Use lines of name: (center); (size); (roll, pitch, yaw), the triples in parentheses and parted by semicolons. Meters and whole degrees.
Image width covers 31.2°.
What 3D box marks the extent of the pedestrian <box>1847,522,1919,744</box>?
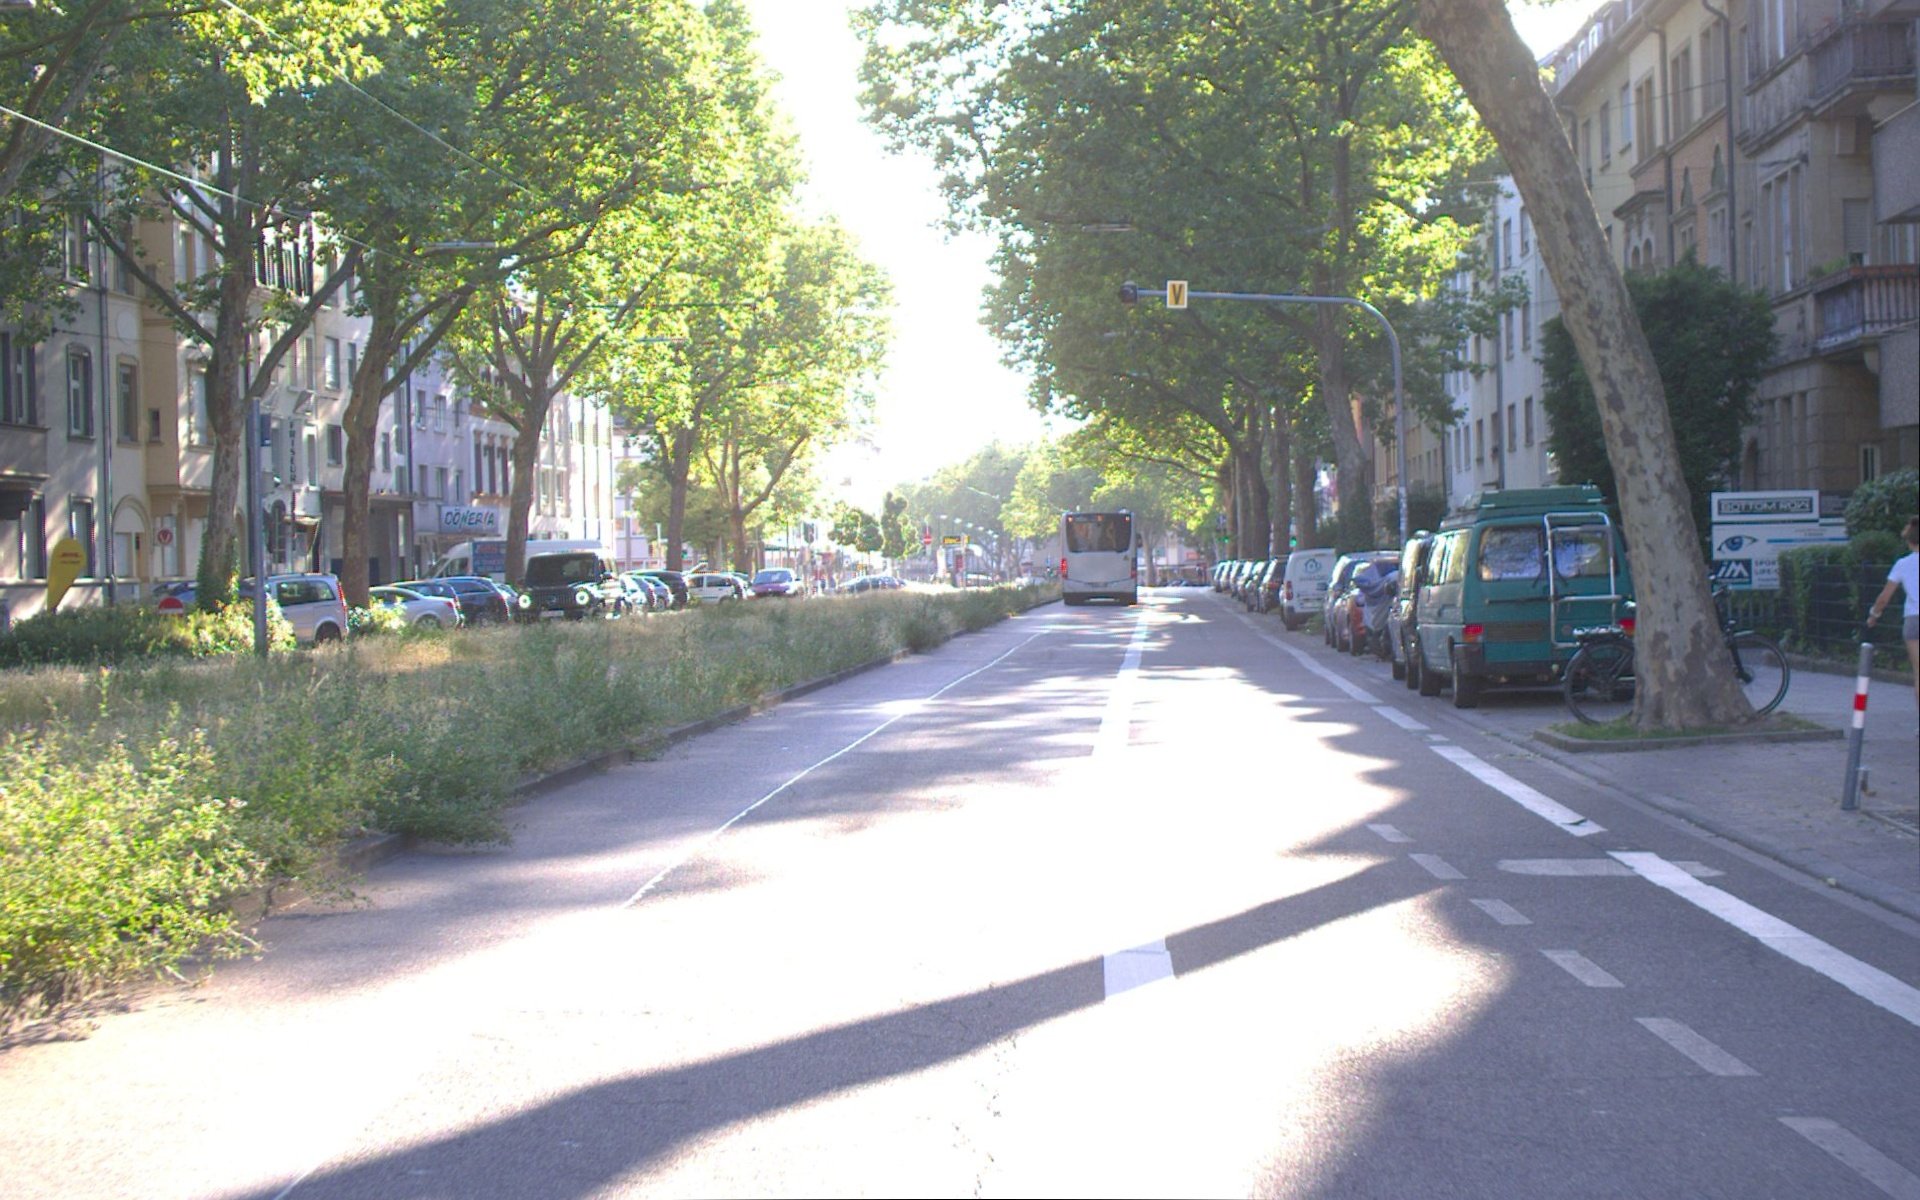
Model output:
pedestrian: (7.075, 0.241, 25.678); (0.663, 1.623, 0.923); (-1, 0, 3)

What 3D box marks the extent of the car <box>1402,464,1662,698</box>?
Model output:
car: (5.941, -0.181, 36.306); (1.993, 2.249, 5.235); (-1, 0, 2)

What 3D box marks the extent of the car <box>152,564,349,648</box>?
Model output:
car: (-16.506, 0.138, 80.062); (3.988, 1.875, 1.999); (-1, 0, -37)

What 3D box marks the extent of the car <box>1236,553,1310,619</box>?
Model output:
car: (8.708, -0.369, 95.989); (1.744, 1.764, 4.988); (-1, 0, 2)

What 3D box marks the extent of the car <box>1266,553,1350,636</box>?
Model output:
car: (7.802, -0.110, 76.768); (1.745, 1.764, 4.393); (-1, 0, 7)

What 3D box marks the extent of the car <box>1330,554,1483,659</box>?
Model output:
car: (6.987, 0.097, 54.171); (1.993, 1.555, 3.980); (-1, 0, 2)

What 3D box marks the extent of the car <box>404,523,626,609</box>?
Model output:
car: (-14.663, -1.116, 113.389); (6.935, 2.669, 2.186); (-1, 0, -17)

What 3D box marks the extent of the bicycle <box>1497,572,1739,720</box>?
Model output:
bicycle: (5.257, 0.367, 27.509); (1.845, 1.139, 0.348); (-1, 0, 3)

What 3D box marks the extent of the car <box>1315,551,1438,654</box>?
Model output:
car: (7.182, 0.044, 59.587); (1.744, 1.684, 3.852); (-1, 0, 2)

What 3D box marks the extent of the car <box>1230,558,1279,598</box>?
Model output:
car: (11.667, -0.893, 136.512); (1.781, 1.510, 4.000); (-2, 1, 3)

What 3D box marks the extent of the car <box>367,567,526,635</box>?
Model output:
car: (-14.564, 0.020, 97.595); (3.987, 1.693, 1.856); (-3, 1, -28)

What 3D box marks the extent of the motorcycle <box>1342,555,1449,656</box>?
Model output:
motorcycle: (6.331, 0.061, 50.067); (0.823, 1.393, 2.380); (-3, 1, -9)

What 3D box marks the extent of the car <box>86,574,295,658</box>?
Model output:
car: (-16.526, 0.343, 73.894); (3.988, 1.717, 1.784); (-1, 0, -35)

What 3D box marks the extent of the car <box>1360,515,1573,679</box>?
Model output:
car: (6.061, -0.032, 41.668); (1.993, 1.823, 4.757); (-1, 0, 2)

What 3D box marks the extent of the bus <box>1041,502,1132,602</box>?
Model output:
bus: (4.273, -1.577, 117.583); (2.833, 3.224, 8.182); (-1, 0, 1)

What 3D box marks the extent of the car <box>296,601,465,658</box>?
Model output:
car: (-14.990, 0.760, 88.949); (3.986, 1.351, 1.586); (-1, 0, -28)

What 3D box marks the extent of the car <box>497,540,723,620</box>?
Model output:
car: (-7.745, -0.447, 76.321); (4.763, 1.688, 1.874); (-1, 0, -42)

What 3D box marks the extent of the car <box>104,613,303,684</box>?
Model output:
car: (-16.762, 1.065, 76.252); (3.988, 1.443, 1.585); (-1, 0, -36)

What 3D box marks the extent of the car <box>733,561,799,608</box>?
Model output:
car: (-6.727, -0.556, 119.443); (1.790, 1.568, 4.000); (-1, 1, 3)
